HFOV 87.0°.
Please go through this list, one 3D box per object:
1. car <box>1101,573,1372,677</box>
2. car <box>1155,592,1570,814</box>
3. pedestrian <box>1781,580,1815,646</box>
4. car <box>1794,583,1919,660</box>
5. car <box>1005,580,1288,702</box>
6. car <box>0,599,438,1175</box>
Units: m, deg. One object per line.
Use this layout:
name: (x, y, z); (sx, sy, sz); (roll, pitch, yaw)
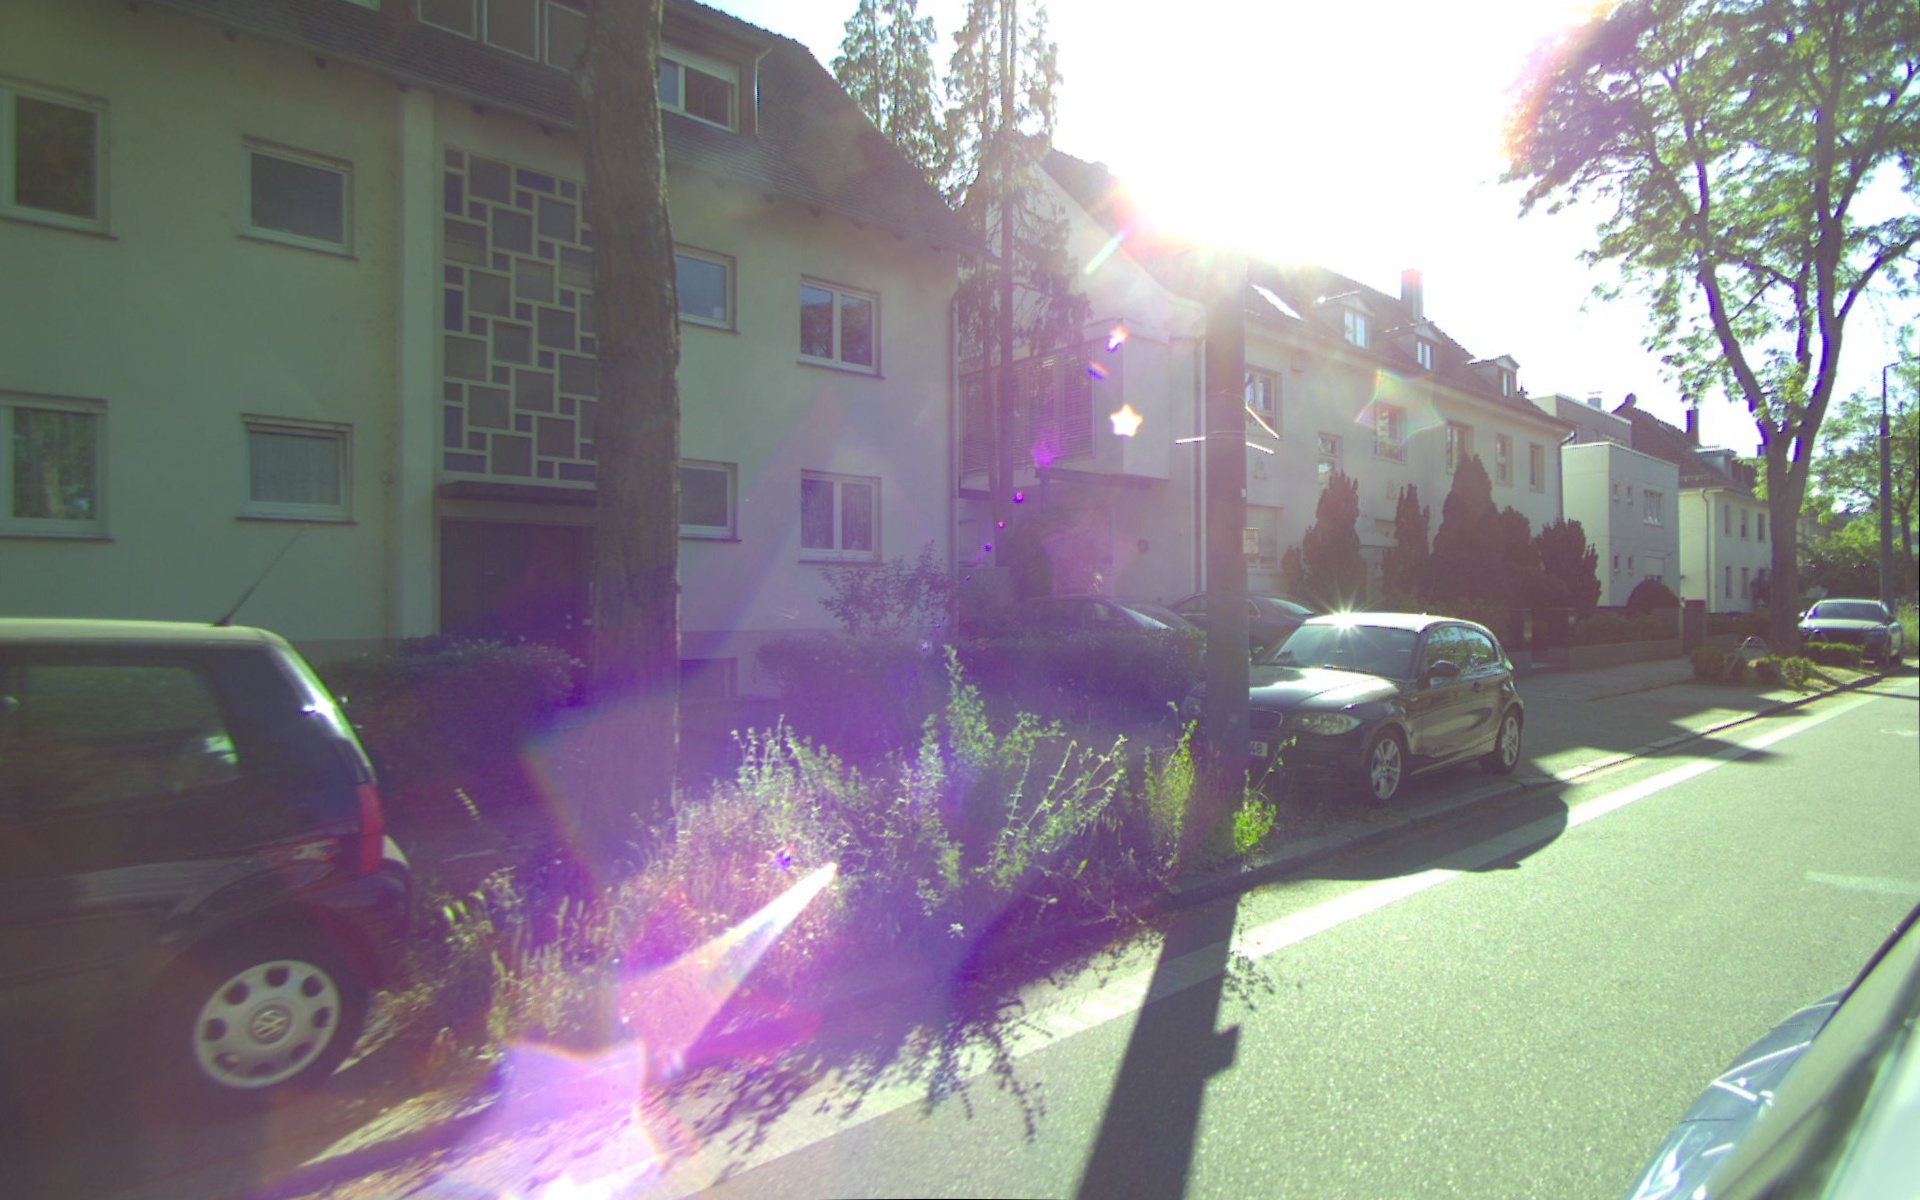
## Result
car: (4.748, 0.344, 17.965); (1.824, 1.508, 4.434); (0, 2, -37)
car: (3.781, 0.714, 9.114); (4.228, 1.466, 1.787); (0, 2, -43)
pedestrian: (24.959, 0.378, 30.141); (0.719, 1.893, 0.626); (0, 2, -42)
car: (23.079, 0.480, 25.895); (4.400, 1.725, 1.997); (0, 3, -42)
car: (2.620, 0.492, 14.730); (3.739, 1.508, 1.712); (2, 1, 44)
car: (-3.573, 0.741, 2.706); (3.582, 1.415, 1.630); (0, 2, -41)
